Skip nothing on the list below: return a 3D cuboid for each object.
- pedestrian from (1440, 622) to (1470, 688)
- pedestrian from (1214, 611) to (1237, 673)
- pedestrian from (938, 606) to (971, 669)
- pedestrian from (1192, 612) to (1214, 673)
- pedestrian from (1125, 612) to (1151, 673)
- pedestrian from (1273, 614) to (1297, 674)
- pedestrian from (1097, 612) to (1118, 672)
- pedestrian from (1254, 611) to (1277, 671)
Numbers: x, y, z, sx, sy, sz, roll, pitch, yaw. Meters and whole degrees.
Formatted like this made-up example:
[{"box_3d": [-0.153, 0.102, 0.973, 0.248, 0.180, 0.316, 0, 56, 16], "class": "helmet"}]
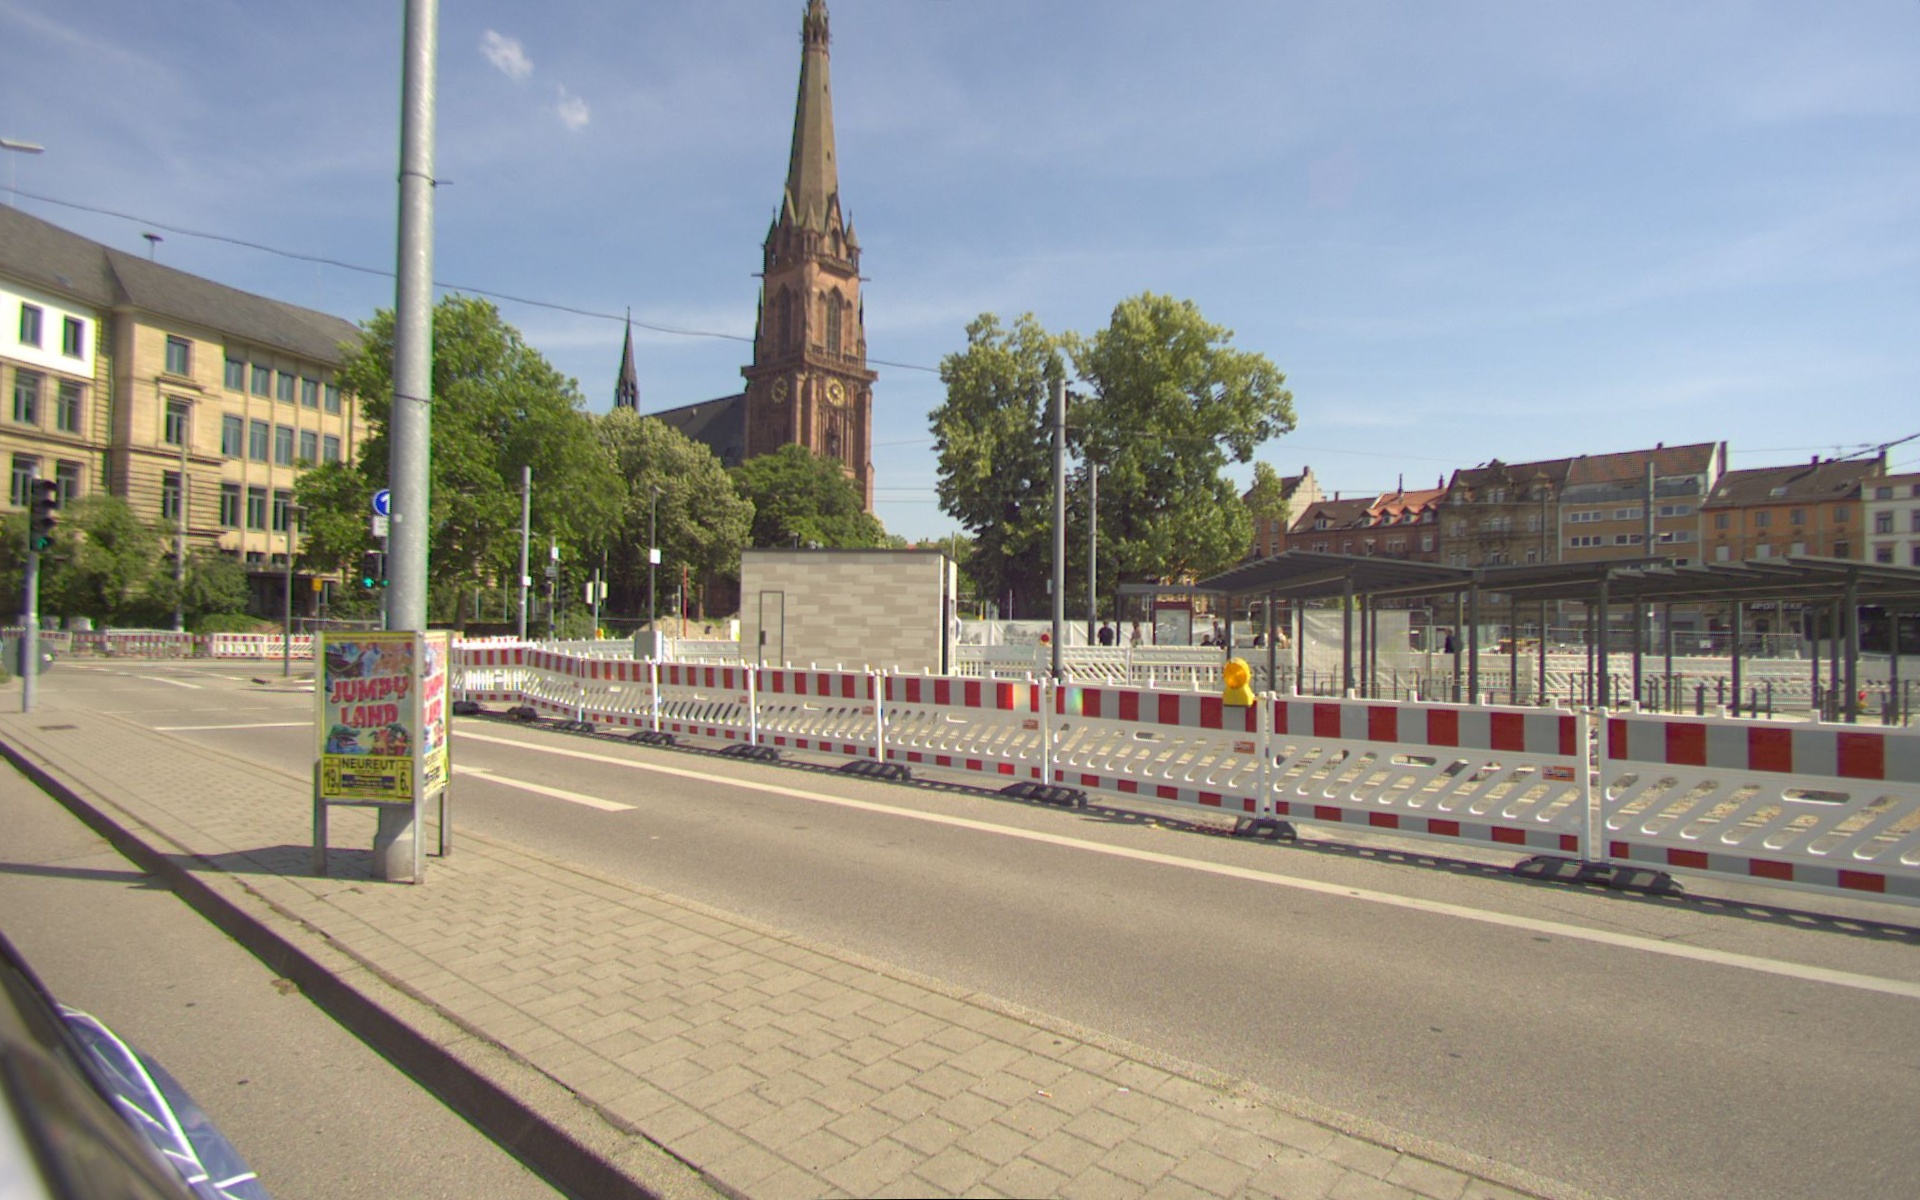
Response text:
[{"box_3d": [15.544, 1.712, 31.788, 0.680, 2.029, 0.816, 0, -2, 16], "class": "pedestrian"}, {"box_3d": [8.934, 1.416, 34.059, 0.679, 2.029, 0.818, 0, -2, 11], "class": "pedestrian"}, {"box_3d": [-0.163, 1.217, 32.954, 0.686, 2.029, 0.809, -1, -3, 43], "class": "pedestrian"}, {"box_3d": [8.194, 1.430, 34.151, 0.679, 2.029, 0.818, 0, -2, 11], "class": "pedestrian"}, {"box_3d": [6.105, 1.452, 34.666, 0.810, 2.029, 0.685, 1, -2, 6], "class": "pedestrian"}, {"box_3d": [11.239, 1.512, 35.040, 0.679, 2.029, 0.818, 0, -2, 11], "class": "pedestrian"}, {"box_3d": [5.085, 1.440, 34.891, 0.678, 2.029, 0.819, 0, -2, 7], "class": "pedestrian"}, {"box_3d": [10.415, 1.389, 34.525, 0.679, 2.029, 0.818, 0, -2, 11], "class": "pedestrian"}]
